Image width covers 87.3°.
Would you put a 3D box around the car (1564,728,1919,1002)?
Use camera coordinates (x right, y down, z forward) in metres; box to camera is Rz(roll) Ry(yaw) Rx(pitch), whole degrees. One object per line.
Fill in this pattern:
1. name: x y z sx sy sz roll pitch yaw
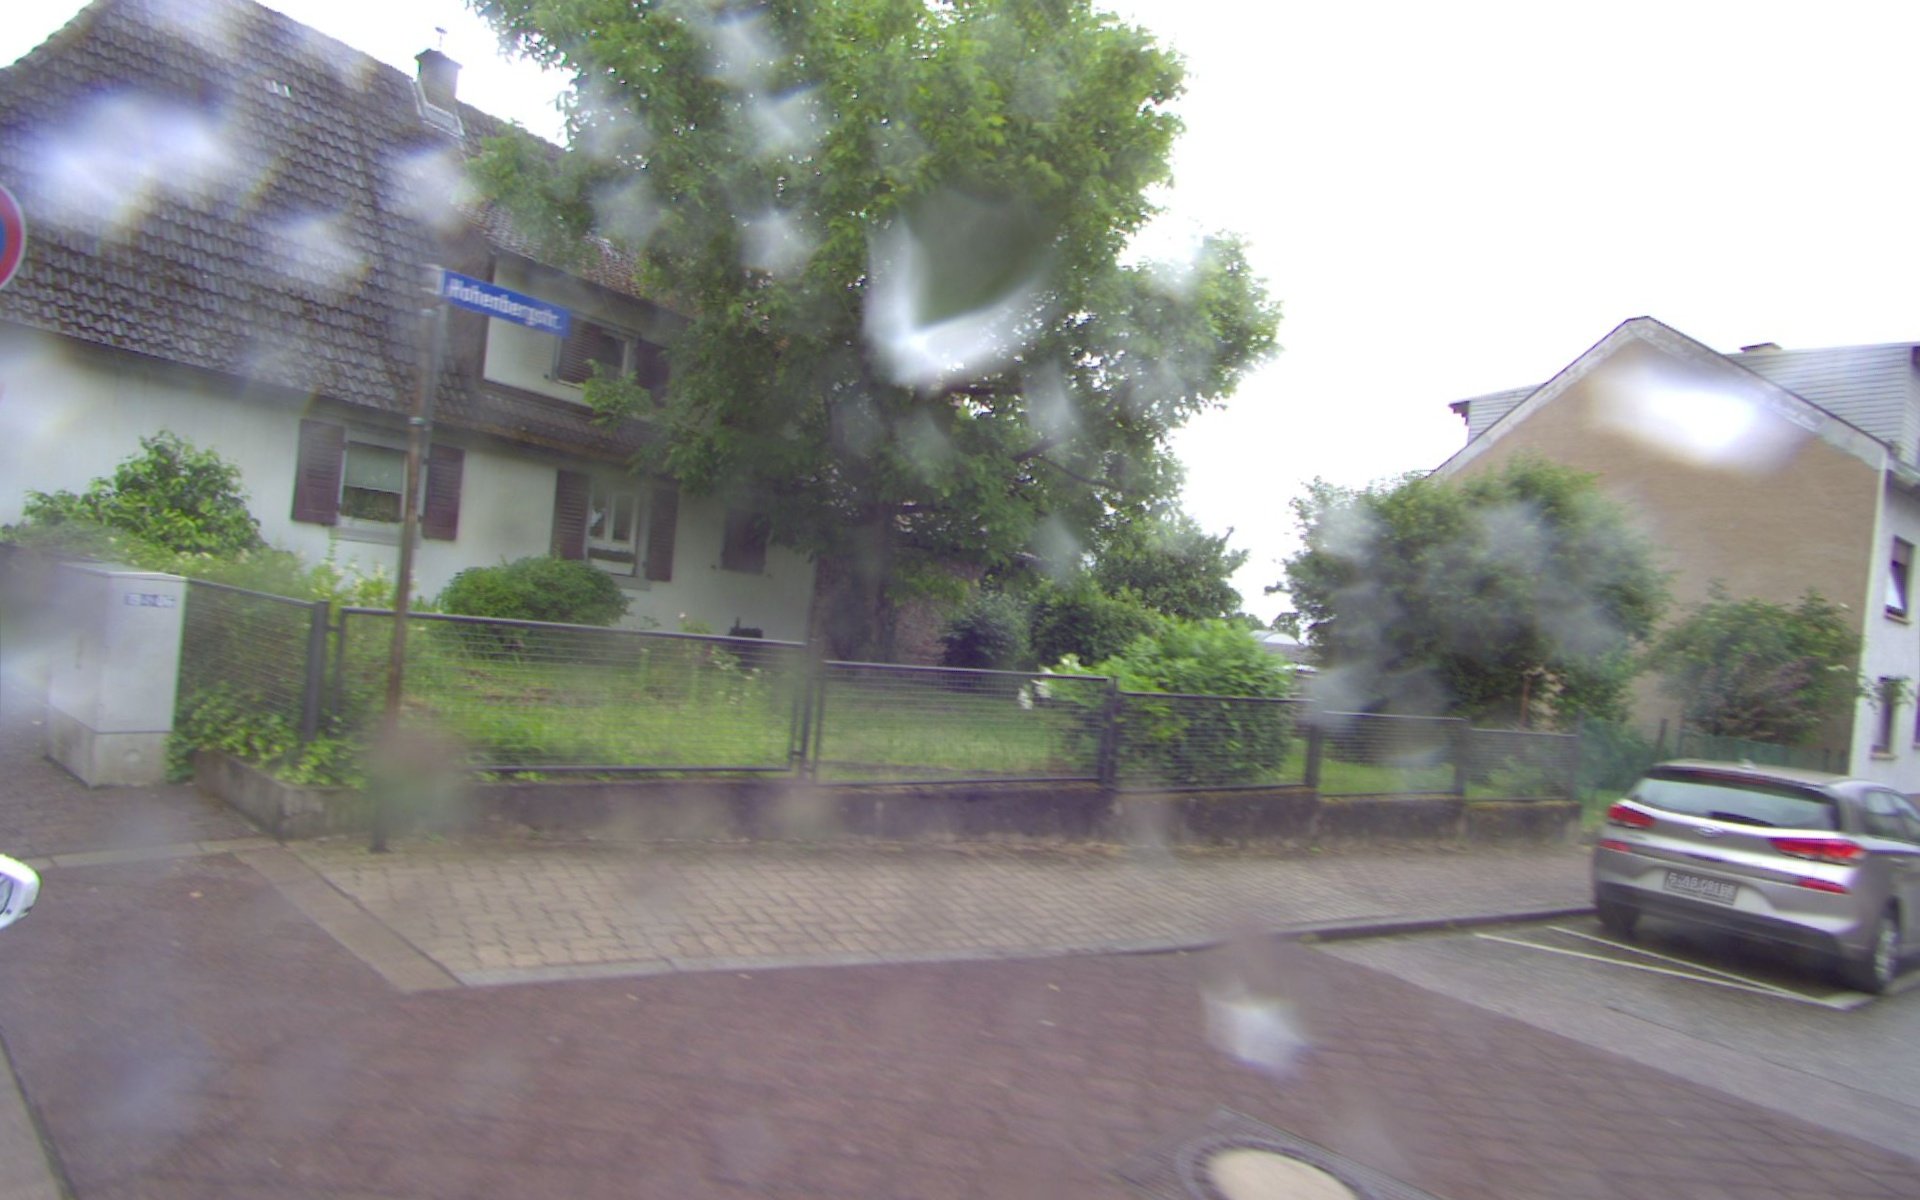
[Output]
1. car: 6.902 2.013 8.274 3.965 1.488 1.776 8 -2 -35

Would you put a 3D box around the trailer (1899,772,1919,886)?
1. trailer: 15.998 3.601 14.879 4.505 1.584 1.987 9 -3 -33
